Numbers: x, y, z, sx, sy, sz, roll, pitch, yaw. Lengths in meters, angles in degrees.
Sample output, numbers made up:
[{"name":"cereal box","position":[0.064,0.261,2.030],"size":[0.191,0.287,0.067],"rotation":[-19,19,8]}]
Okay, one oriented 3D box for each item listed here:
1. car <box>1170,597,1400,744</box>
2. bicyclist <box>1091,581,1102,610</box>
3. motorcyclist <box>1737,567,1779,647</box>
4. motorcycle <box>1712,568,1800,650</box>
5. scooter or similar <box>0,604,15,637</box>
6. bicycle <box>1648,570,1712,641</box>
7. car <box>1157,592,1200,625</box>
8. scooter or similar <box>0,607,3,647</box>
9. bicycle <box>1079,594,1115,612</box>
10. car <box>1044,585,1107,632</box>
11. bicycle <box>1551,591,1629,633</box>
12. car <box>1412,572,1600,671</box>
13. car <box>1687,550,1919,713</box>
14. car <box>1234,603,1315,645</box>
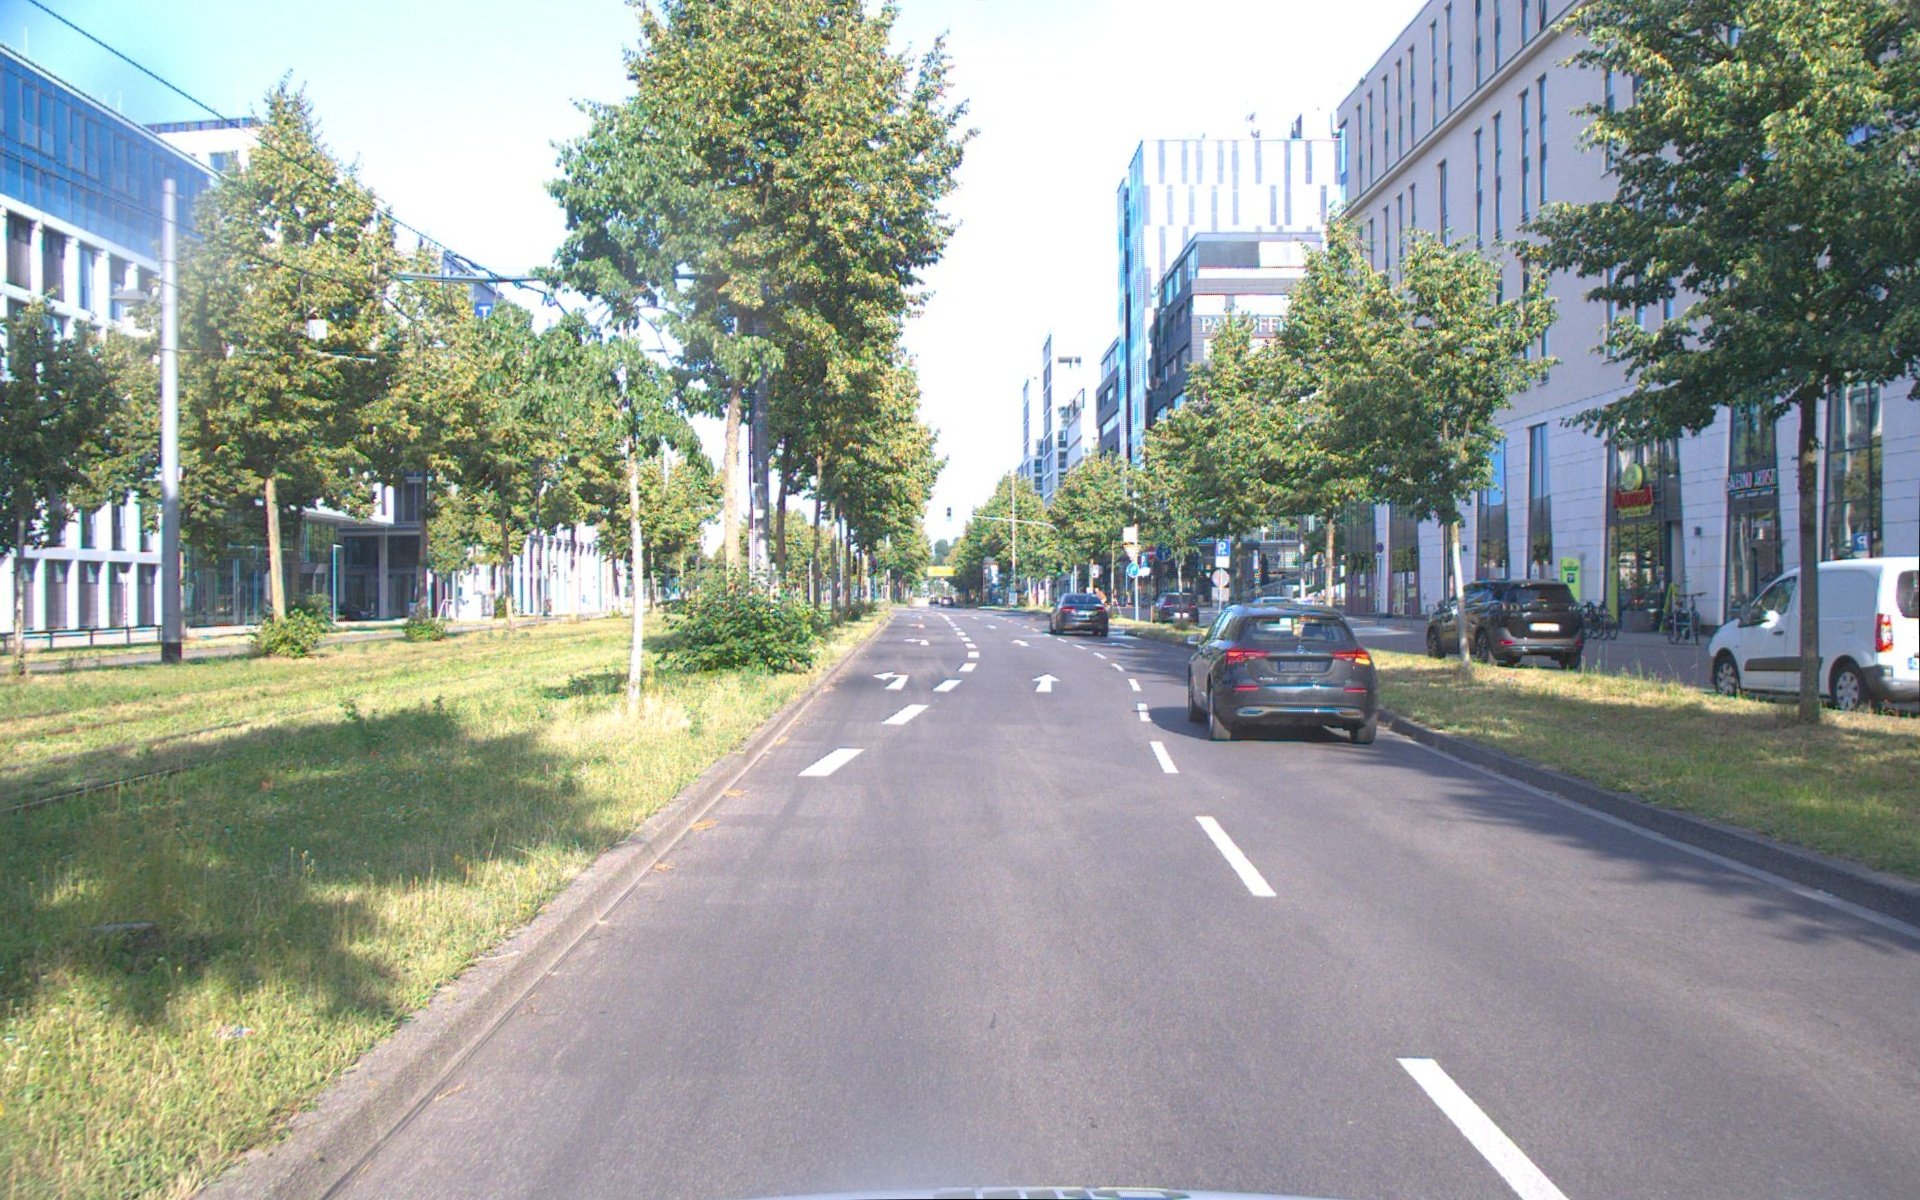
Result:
[{"name":"car","position":[3.529,0.717,18.669],"size":[1.738,1.449,3.960],"rotation":[1,0,-1]},{"name":"bicyclist","position":[8.287,-0.273,100.250],"size":[0.563,1.737,0.540],"rotation":[1,-1,-6]},{"name":"motorcyclist","position":[16.867,0.144,34.978],"size":[0.611,1.669,0.417],"rotation":[-2,0,-5]},{"name":"motorcycle","position":[16.837,0.193,35.054],"size":[0.687,1.645,2.010],"rotation":[-4,0,-4]},{"name":"scooter or similar","position":[-37.130,0.797,63.831],"size":[0.328,1.247,1.300],"rotation":[1,0,12]},{"name":"bicycle","position":[17.378,0.144,39.951],"size":[0.544,1.647,2.212],"rotation":[1,-1,-1]},{"name":"car","position":[9.728,0.375,73.904],"size":[1.573,1.394,4.159],"rotation":[1,0,3]},{"name":"scooter or similar","position":[-36.826,0.995,61.771],"size":[1.888,1.502,0.415],"rotation":[1,-1,2]},{"name":"bicycle","position":[8.307,0.205,100.245],"size":[2.092,1.030,0.571],"rotation":[1,-1,-6]},{"name":"car","position":[4.004,0.307,57.717],"size":[1.822,1.551,3.784],"rotation":[1,0,-1]},{"name":"bicycle","position":[17.060,0.323,44.808],"size":[1.871,1.103,0.631],"rotation":[-2,-1,43]},{"name":"car","position":[10.428,0.345,31.971],"size":[1.859,1.738,4.675],"rotation":[1,1,-3]},{"name":"car","position":[10.706,0.357,19.923],"size":[1.791,1.741,4.293],"rotation":[1,0,-3]},{"name":"car","position":[9.954,0.742,52.526],"size":[1.674,1.264,3.903],"rotation":[1,0,-2]}]
